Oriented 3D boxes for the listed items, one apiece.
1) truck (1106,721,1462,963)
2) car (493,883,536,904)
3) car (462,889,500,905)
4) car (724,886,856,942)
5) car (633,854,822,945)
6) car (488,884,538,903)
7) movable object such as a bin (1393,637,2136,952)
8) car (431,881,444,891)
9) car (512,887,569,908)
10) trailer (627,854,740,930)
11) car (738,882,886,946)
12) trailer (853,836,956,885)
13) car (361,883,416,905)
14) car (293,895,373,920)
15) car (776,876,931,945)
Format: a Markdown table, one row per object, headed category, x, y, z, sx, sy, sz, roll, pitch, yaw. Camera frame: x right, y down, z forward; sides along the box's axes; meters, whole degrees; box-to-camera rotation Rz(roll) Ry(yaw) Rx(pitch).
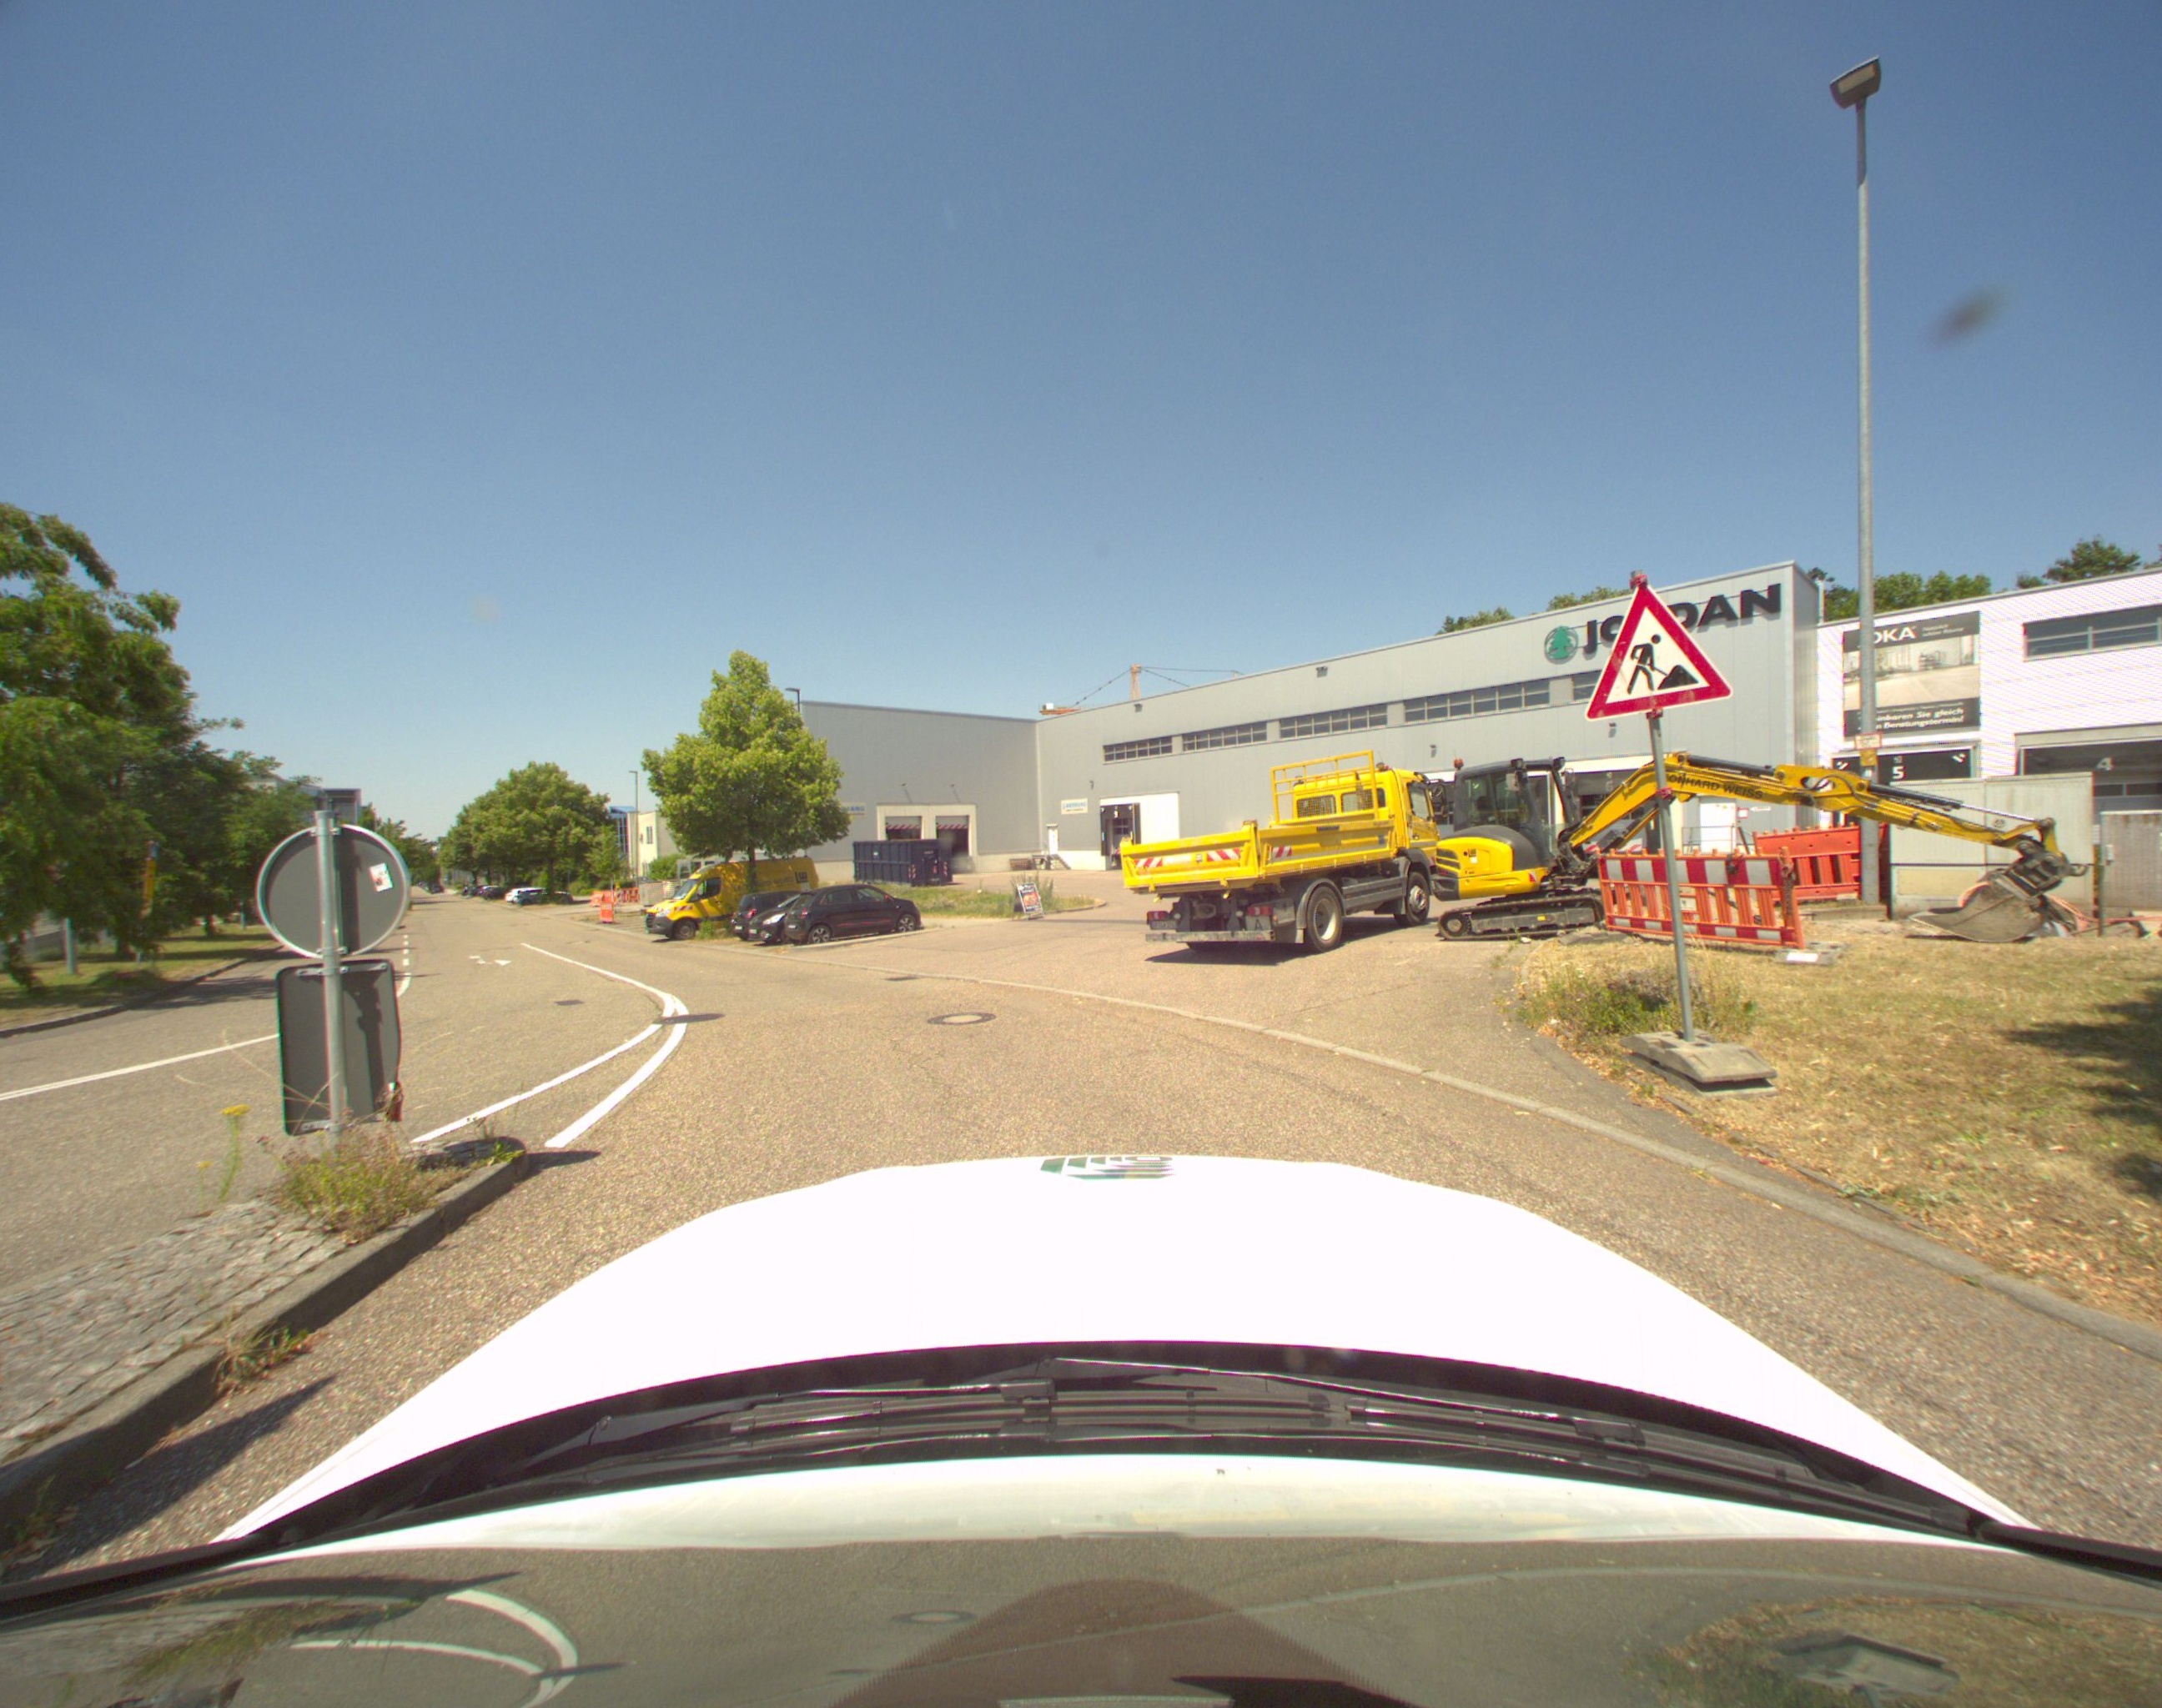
| category | x | y | z | sx | sy | sz | roll | pitch | yaw |
| --- | --- | --- | --- | --- | --- | --- | --- | --- | --- |
| truck | 3.697 | -0.269 | 13.667 | 6.463 | 3.136 | 2.563 | -5 | 0 | -44 |
| car | -63.435 | 4.406 | 91.247 | 3.754 | 2.111 | 1.792 | -1 | -1 | -41 |
| car | -83.927 | 5.985 | 113.948 | 1.745 | 1.834 | 3.969 | 2 | 2 | 42 |
| car | -9.289 | 1.863 | 26.134 | 3.634 | 1.478 | 1.608 | -2 | -1 | -42 |
| car | -12.675 | 1.520 | 29.533 | 5.831 | 2.732 | 1.976 | -4 | 1 | -42 |
| car | -52.893 | 3.656 | 75.809 | 3.549 | 1.354 | 1.519 | -5 | 2 | -45 |
| movable object such as a bin | 7.338 | -0.369 | 9.887 | 2.009 | 2.581 | 6.506 | -2 | -2 | -35 |
| car | -119.196 | 6.027 | 150.927 | 1.776 | 1.755 | 3.898 | -1 | -1 | -39 |
| car | -45.962 | 3.680 | 69.264 | 3.713 | 1.354 | 1.625 | -5 | 2 | -45 |
| trailer | -17.294 | 1.600 | 35.284 | 2.681 | 2.857 | 5.451 | -5 | 1 | -44 |
| car | -7.886 | 1.715 | 24.094 | 3.804 | 1.507 | 1.571 | -3 | -1 | -42 |
| trailer | -9.892 | 0.262 | 45.043 | 2.680 | 2.420 | 7.331 | -1 | 2 | -38 |
| car | -52.915 | 3.051 | 62.292 | 1.276 | 1.479 | 3.086 | -3 | -2 | 43 |
| car | -52.139 | 3.679 | 56.843 | 4.082 | 1.495 | 1.708 | -1 | -1 | -43 |
| car | -6.214 | 1.506 | 22.435 | 3.692 | 1.462 | 1.608 | -5 | 1 | -40 |
